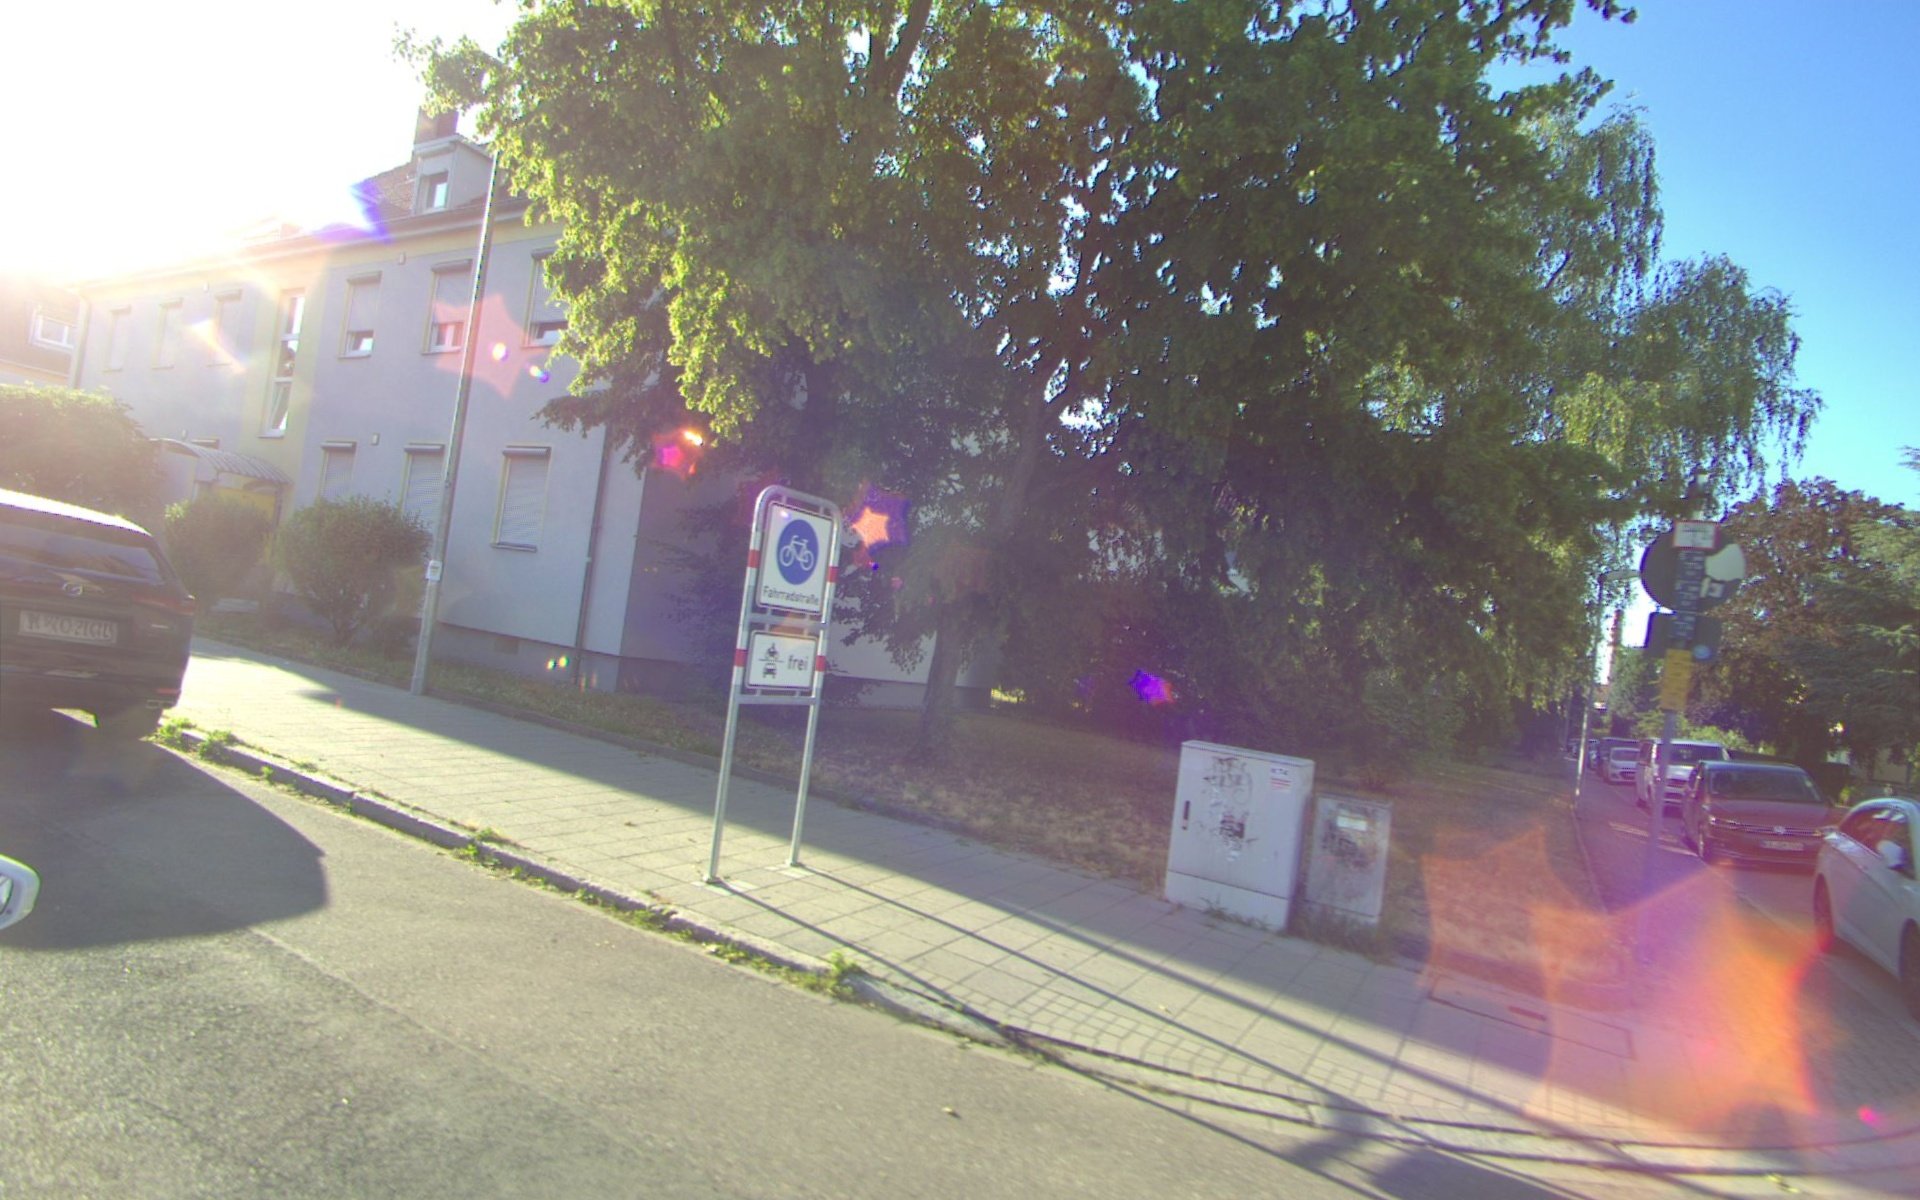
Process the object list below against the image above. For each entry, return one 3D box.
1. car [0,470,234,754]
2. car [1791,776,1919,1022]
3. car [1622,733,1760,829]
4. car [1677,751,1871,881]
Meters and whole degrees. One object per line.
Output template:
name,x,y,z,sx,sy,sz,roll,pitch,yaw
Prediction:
car,-8.029,-0.096,7.858,4.948,1.749,1.839,6,-5,31
car,7.981,2.242,7.484,1.970,1.501,4.861,2,-6,31
car,19.430,4.724,26.999,2.136,1.994,5.018,4,-4,27
car,13.310,3.454,16.722,1.968,1.526,4.124,6,-4,34
